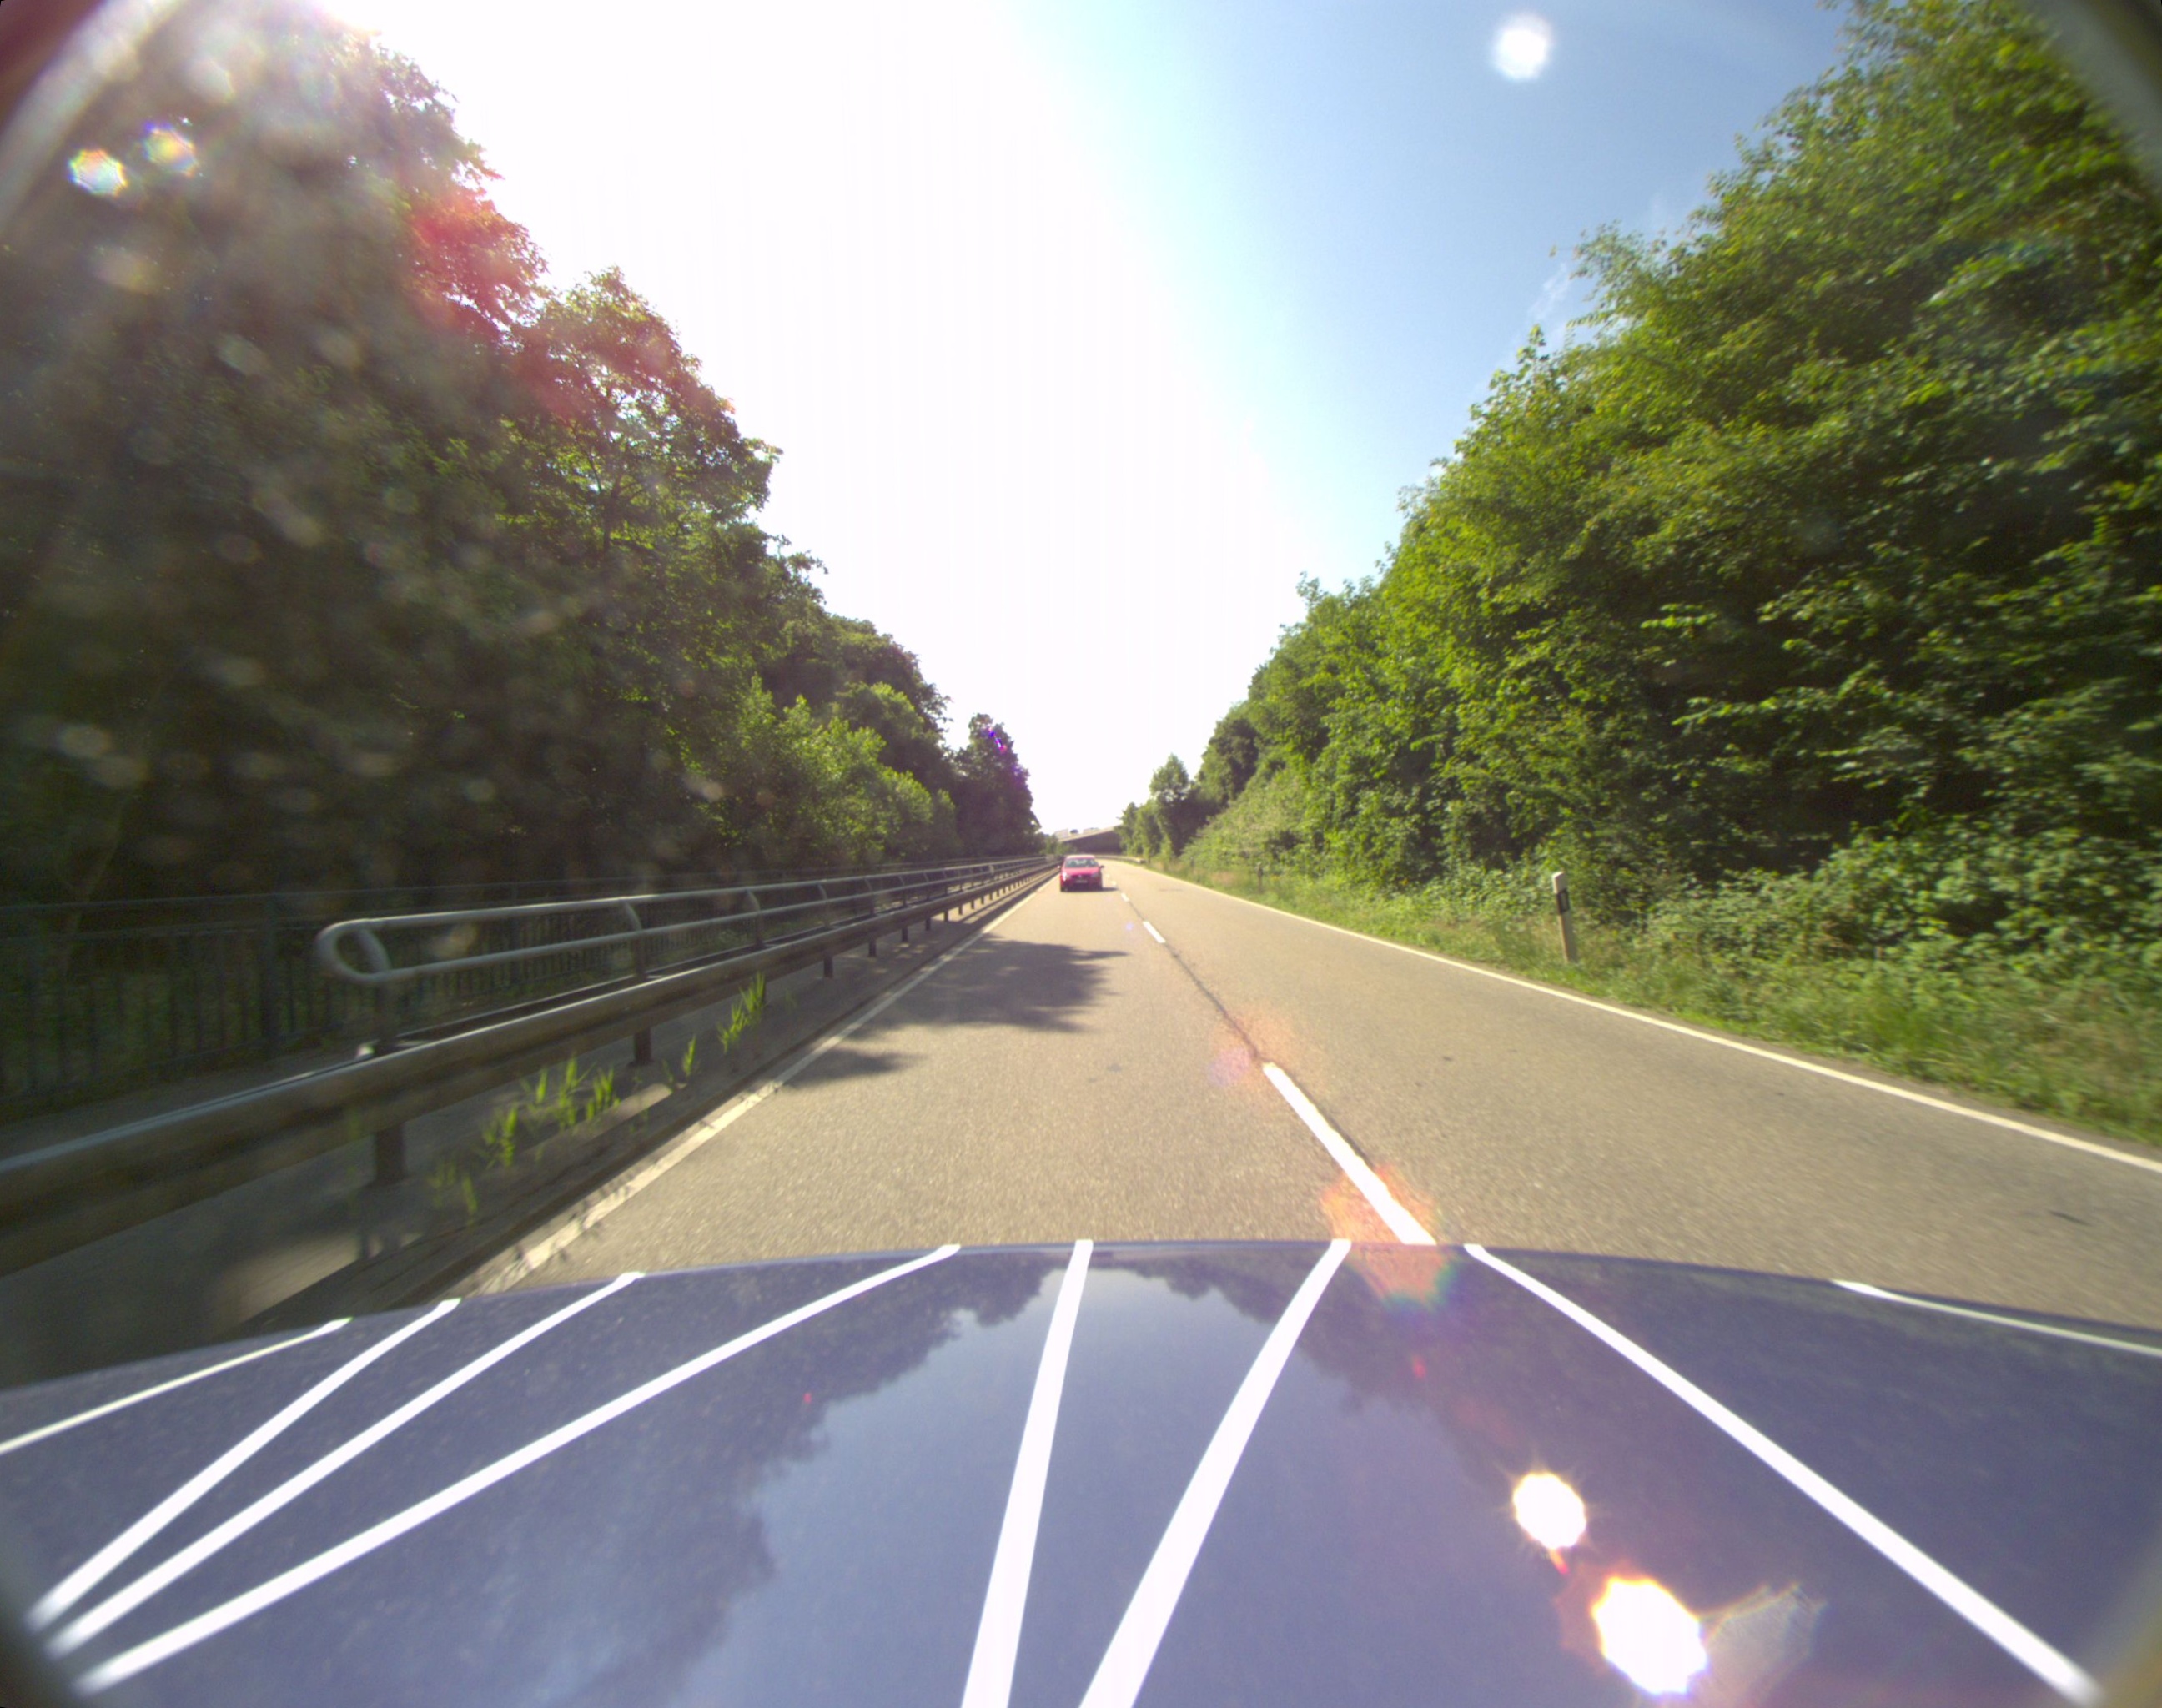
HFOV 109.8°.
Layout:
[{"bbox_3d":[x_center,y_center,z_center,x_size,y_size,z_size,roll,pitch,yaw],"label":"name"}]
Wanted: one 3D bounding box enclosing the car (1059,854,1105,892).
[{"bbox_3d":[0.090,0.757,33.020,1.816,1.488,4.286,-2,0,2],"label":"car"}]
